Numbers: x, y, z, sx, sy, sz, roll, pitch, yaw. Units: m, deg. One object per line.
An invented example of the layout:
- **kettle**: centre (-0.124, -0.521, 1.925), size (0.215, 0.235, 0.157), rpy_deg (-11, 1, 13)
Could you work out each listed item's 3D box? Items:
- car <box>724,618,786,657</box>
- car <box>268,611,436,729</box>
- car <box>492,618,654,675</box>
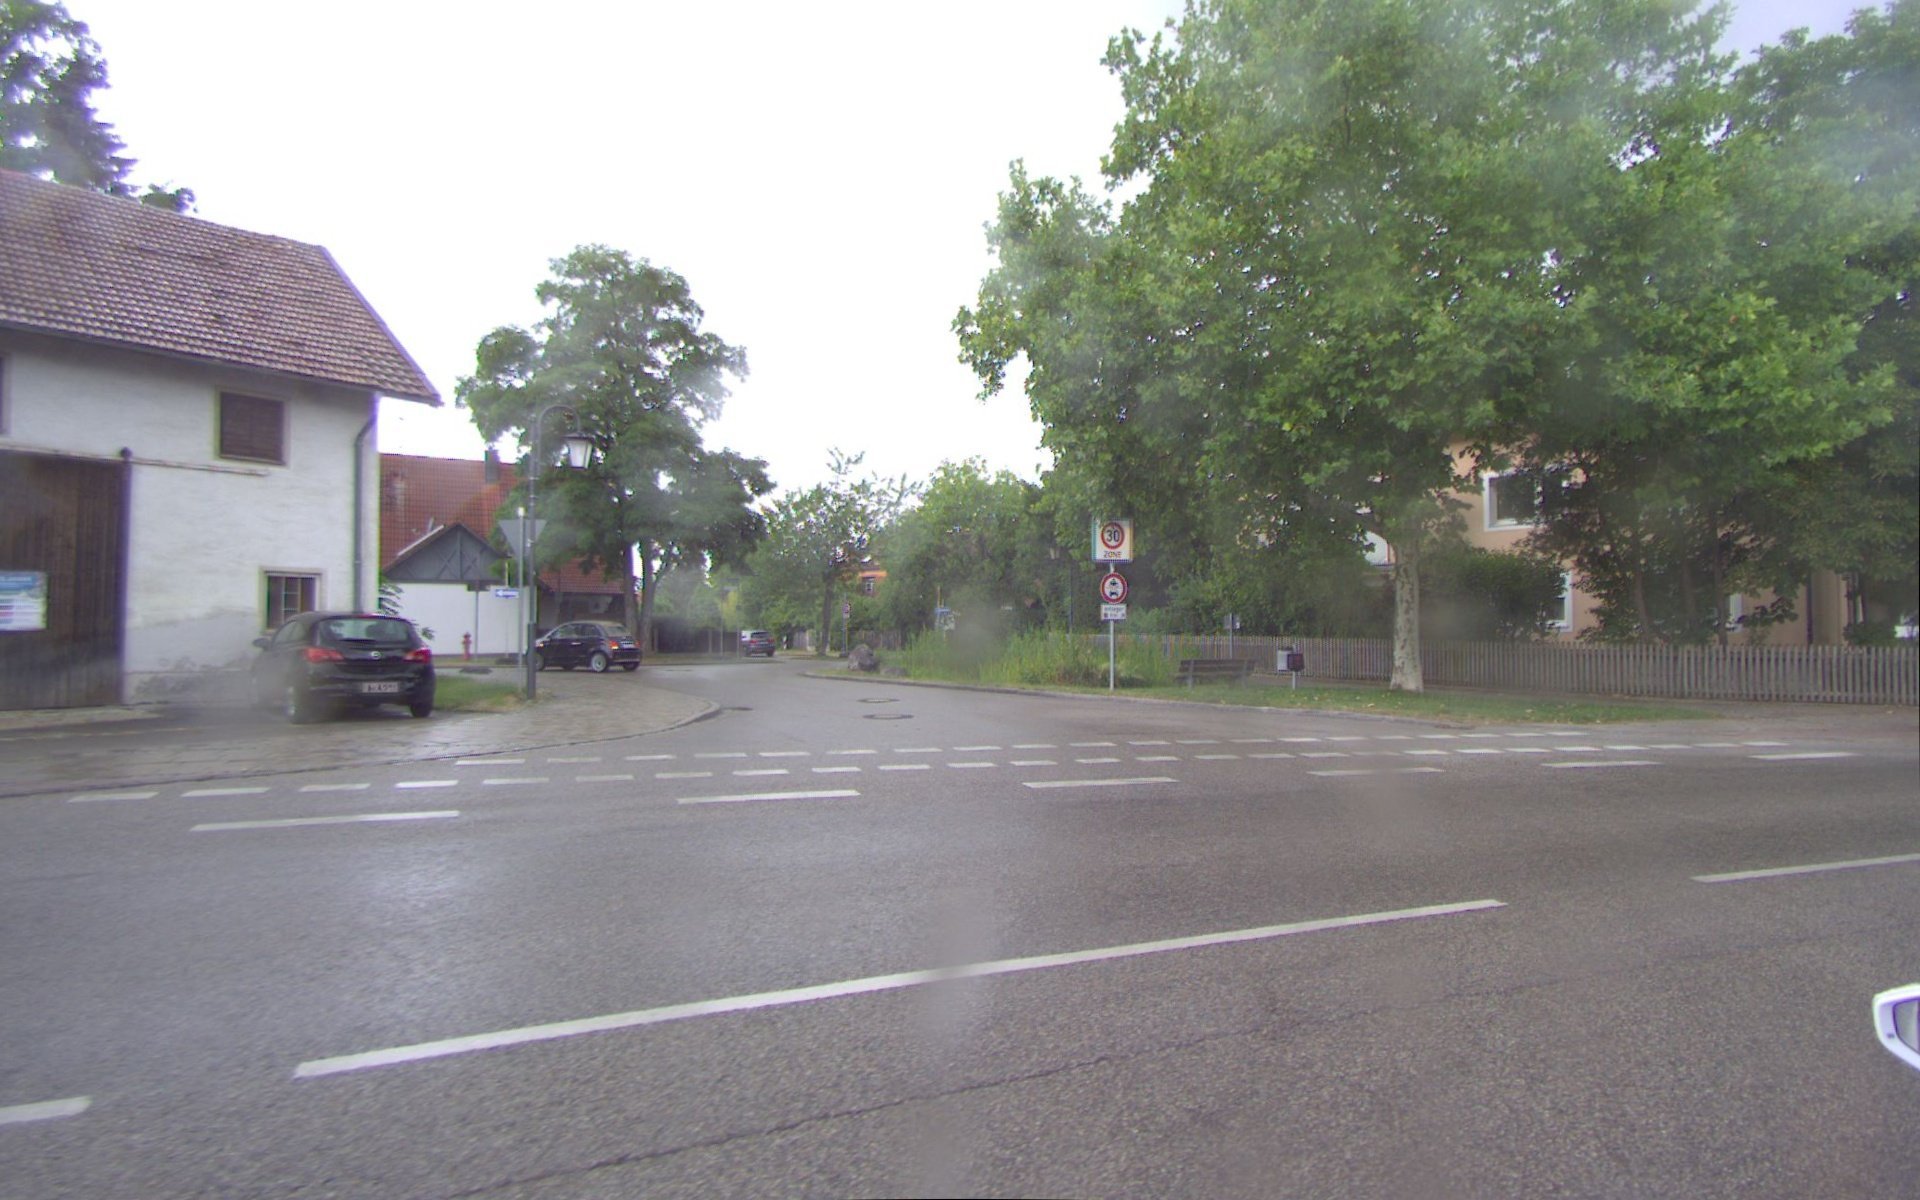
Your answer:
- **car**: centre (-11.742, 2.129, 57.355), size (1.981, 2.040, 3.958), rpy_deg (2, 0, -36)
- **car**: centre (-8.956, 0.920, 14.626), size (1.803, 1.455, 4.239), rpy_deg (2, -2, -35)
- **car**: centre (-11.530, 1.361, 30.022), size (4.195, 1.569, 1.881), rpy_deg (0, -2, 15)
